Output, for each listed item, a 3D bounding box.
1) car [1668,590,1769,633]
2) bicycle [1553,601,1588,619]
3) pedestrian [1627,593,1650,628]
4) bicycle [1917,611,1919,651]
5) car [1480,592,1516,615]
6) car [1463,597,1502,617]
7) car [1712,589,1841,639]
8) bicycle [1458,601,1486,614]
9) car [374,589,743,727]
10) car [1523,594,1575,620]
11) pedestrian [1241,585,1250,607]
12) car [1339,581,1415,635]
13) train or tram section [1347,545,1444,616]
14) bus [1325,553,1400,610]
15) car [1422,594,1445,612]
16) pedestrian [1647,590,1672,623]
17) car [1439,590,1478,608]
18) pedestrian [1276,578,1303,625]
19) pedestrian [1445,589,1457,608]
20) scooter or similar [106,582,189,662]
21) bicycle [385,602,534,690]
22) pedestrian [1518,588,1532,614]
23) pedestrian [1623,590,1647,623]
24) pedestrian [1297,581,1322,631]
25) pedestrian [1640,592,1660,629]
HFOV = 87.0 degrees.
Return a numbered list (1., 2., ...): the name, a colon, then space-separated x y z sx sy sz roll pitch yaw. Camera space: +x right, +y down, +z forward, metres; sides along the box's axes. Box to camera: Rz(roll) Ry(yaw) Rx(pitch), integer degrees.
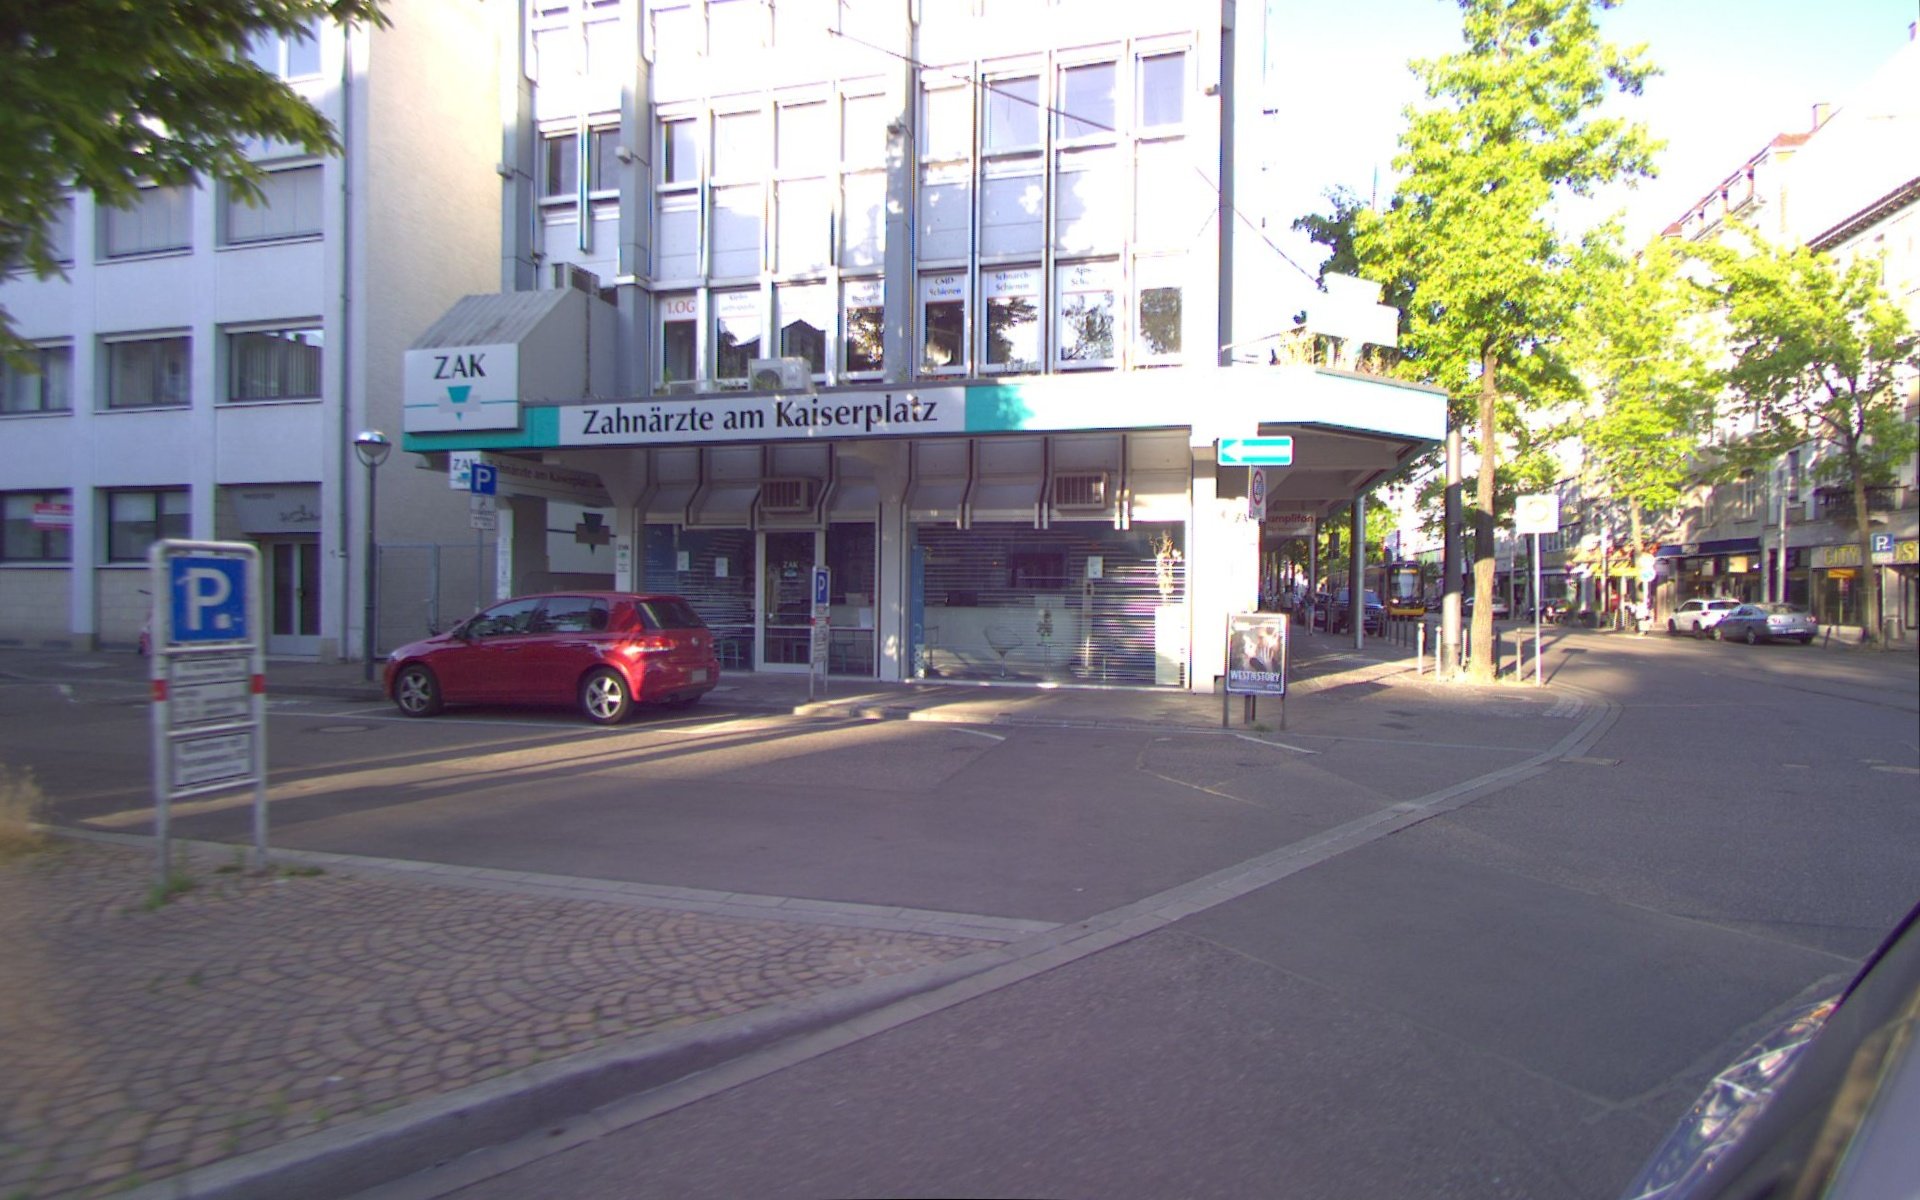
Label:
1. car: 30.692 0.441 41.097 1.816 1.600 4.096 -3 -1 16
2. bicycle: 34.086 0.585 56.545 1.602 0.978 0.429 -1 -1 22
3. pedestrian: 30.044 0.453 44.809 0.613 1.528 0.726 1 1 16
4. bicycle: 27.964 0.849 28.384 1.911 1.118 0.568 -1 0 -9
5. car: 37.546 0.222 70.680 1.752 1.516 4.144 1 1 22
6. car: 39.591 0.526 76.727 1.692 1.479 4.464 -1 0 15
7. car: 29.177 0.477 36.371 1.816 1.600 4.679 -3 -1 15
8. bicycle: 41.424 0.607 81.851 1.951 1.014 0.328 1 0 19
9. car: -4.772 0.621 12.206 3.812 1.458 1.825 0 -1 15
10. car: 35.076 0.373 60.381 1.647 1.446 3.810 -2 0 15
11. pedestrian: 25.062 -0.378 88.919 0.705 1.910 1.048 2 0 15
12. car: 15.760 0.280 38.466 1.917 1.781 4.657 5 1 15
13. train or tram section: 28.102 -1.114 66.181 3.558 4.048 15.639 1 0 15
14. bus: 32.322 -1.349 82.150 3.567 4.048 17.398 1 0 15
15. car: 44.210 0.301 94.404 1.621 1.637 3.669 -1 -1 30
16. pedestrian: 37.118 0.317 53.735 0.780 1.715 0.909 1 0 15
17. car: 42.256 -0.082 85.921 1.768 1.509 4.231 -1 0 9
18. pedestrian: 12.777 0.056 39.270 0.849 1.775 0.928 4 1 15
19. pedestrian: 47.603 -0.130 98.185 0.840 1.788 0.828 1 0 13
20. scooter or similar: -14.670 0.378 18.273 1.670 1.386 0.428 1 0 23
21. bicycle: -7.105 0.639 14.398 1.896 1.196 0.524 0 0 4
22. pedestrian: 41.368 0.095 74.073 0.652 1.849 0.874 -2 -1 16
23. pedestrian: 35.792 0.324 53.708 0.834 1.715 0.737 1 0 15
24. pedestrian: 12.063 0.199 34.916 0.636 1.690 0.782 4 1 15
25. pedestrian: 29.997 0.449 44.012 0.515 1.588 0.630 1 1 16
